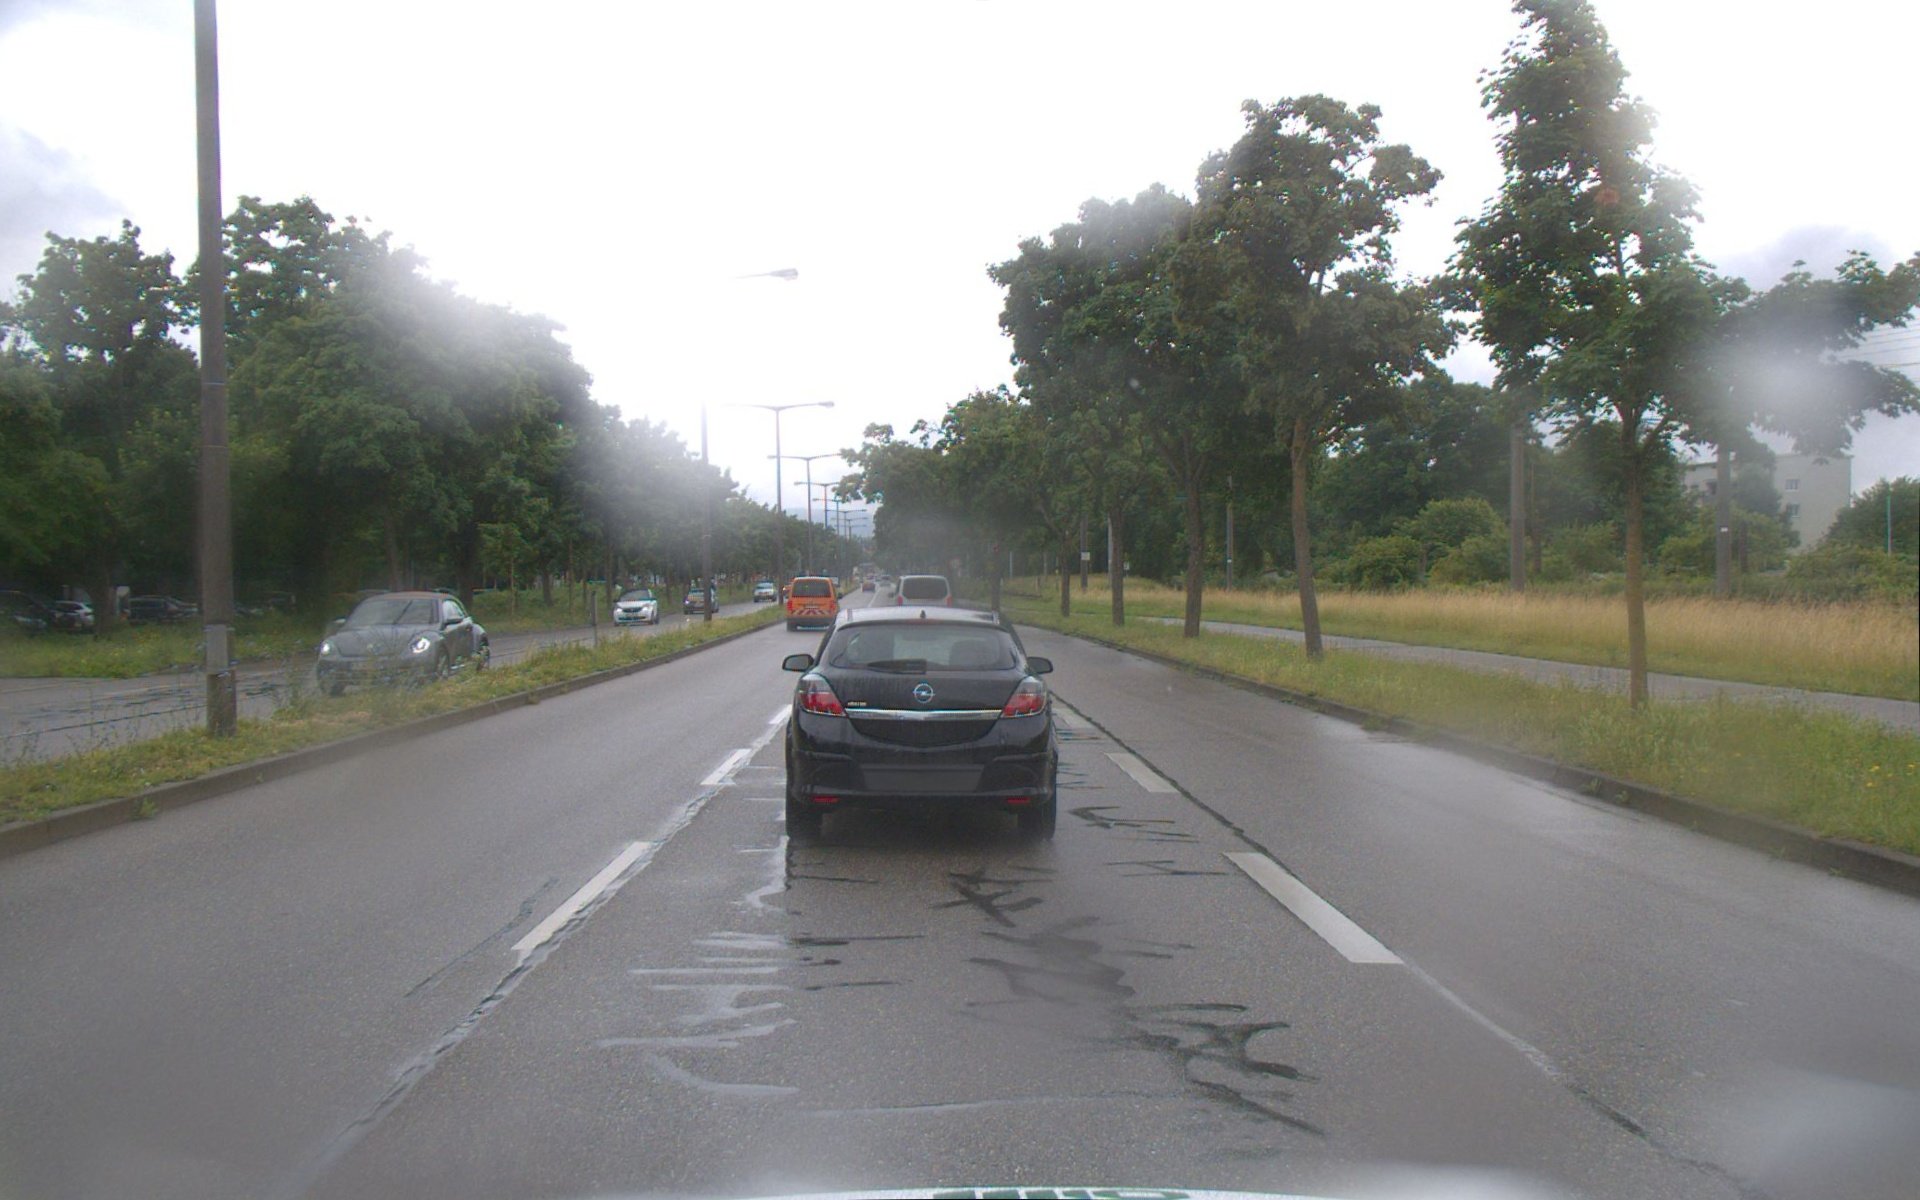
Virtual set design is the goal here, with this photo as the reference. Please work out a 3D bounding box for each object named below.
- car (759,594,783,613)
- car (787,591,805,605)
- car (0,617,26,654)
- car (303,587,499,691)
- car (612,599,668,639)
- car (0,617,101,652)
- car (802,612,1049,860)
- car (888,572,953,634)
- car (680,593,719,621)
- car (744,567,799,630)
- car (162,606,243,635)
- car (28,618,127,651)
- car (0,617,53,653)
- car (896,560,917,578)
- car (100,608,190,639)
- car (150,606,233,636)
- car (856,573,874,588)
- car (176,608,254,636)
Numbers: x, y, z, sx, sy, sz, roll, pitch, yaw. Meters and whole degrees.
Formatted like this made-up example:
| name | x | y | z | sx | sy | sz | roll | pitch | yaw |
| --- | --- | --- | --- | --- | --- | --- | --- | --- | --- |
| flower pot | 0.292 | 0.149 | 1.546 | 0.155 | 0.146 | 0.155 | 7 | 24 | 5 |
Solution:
| name | x | y | z | sx | sy | sz | roll | pitch | yaw |
| --- | --- | --- | --- | --- | --- | --- | --- | --- | --- |
| car | -16.324 | 0.284 | 143.094 | 1.685 | 1.556 | 3.808 | -1 | 0 | -1 |
| car | -18.410 | -0.196 | 185.514 | 1.685 | 1.556 | 3.808 | -1 | 0 | -1 |
| car | -40.653 | 1.459 | 67.793 | 3.761 | 1.477 | 1.523 | -1 | 0 | -6 |
| car | -8.564 | 0.552 | 25.688 | 1.790 | 1.475 | 3.808 | -1 | 0 | -1 |
| car | -13.742 | 0.790 | 71.197 | 1.685 | 1.556 | 3.809 | -1 | 1 | -1 |
| car | -41.364 | 1.569 | 75.158 | 3.761 | 1.477 | 1.523 | -1 | 0 | -6 |
| car | -0.159 | 0.803 | 11.490 | 1.433 | 1.352 | 3.759 | 0 | 1 | 1 |
| car | -1.385 | 0.104 | 56.384 | 2.018 | 2.009 | 4.605 | 0 | 0 | -4 |
| car | -15.131 | 0.403 | 96.163 | 1.685 | 1.556 | 3.808 | -1 | 0 | -1 |
| car | -6.538 | -0.041 | 57.629 | 1.701 | 2.054 | 4.844 | 1 | 0 | -5 |
| car | -41.112 | 1.109 | 89.832 | 3.774 | 1.477 | 1.518 | -1 | 0 | -17 |
| car | -41.341 | 1.605 | 77.569 | 3.761 | 1.477 | 1.523 | -1 | 0 | -6 |
| car | -40.769 | 1.506 | 70.120 | 3.761 | 1.477 | 1.523 | -1 | 0 | -6 |
| car | -6.535 | -3.780 | 203.167 | 2.465 | 2.088 | 5.292 | 2 | 1 | -2 |
| car | -40.824 | 1.159 | 82.880 | 3.769 | 1.477 | 1.520 | -1 | 0 | -13 |
| car | -40.871 | 1.105 | 88.029 | 3.774 | 1.477 | 1.518 | -1 | 0 | -17 |
| car | -12.198 | -2.528 | 212.670 | 1.952 | 1.912 | 4.001 | 0 | 0 | 1 |
| car | -41.605 | 1.207 | 92.451 | 3.774 | 1.477 | 1.518 | -1 | 0 | -17 |
